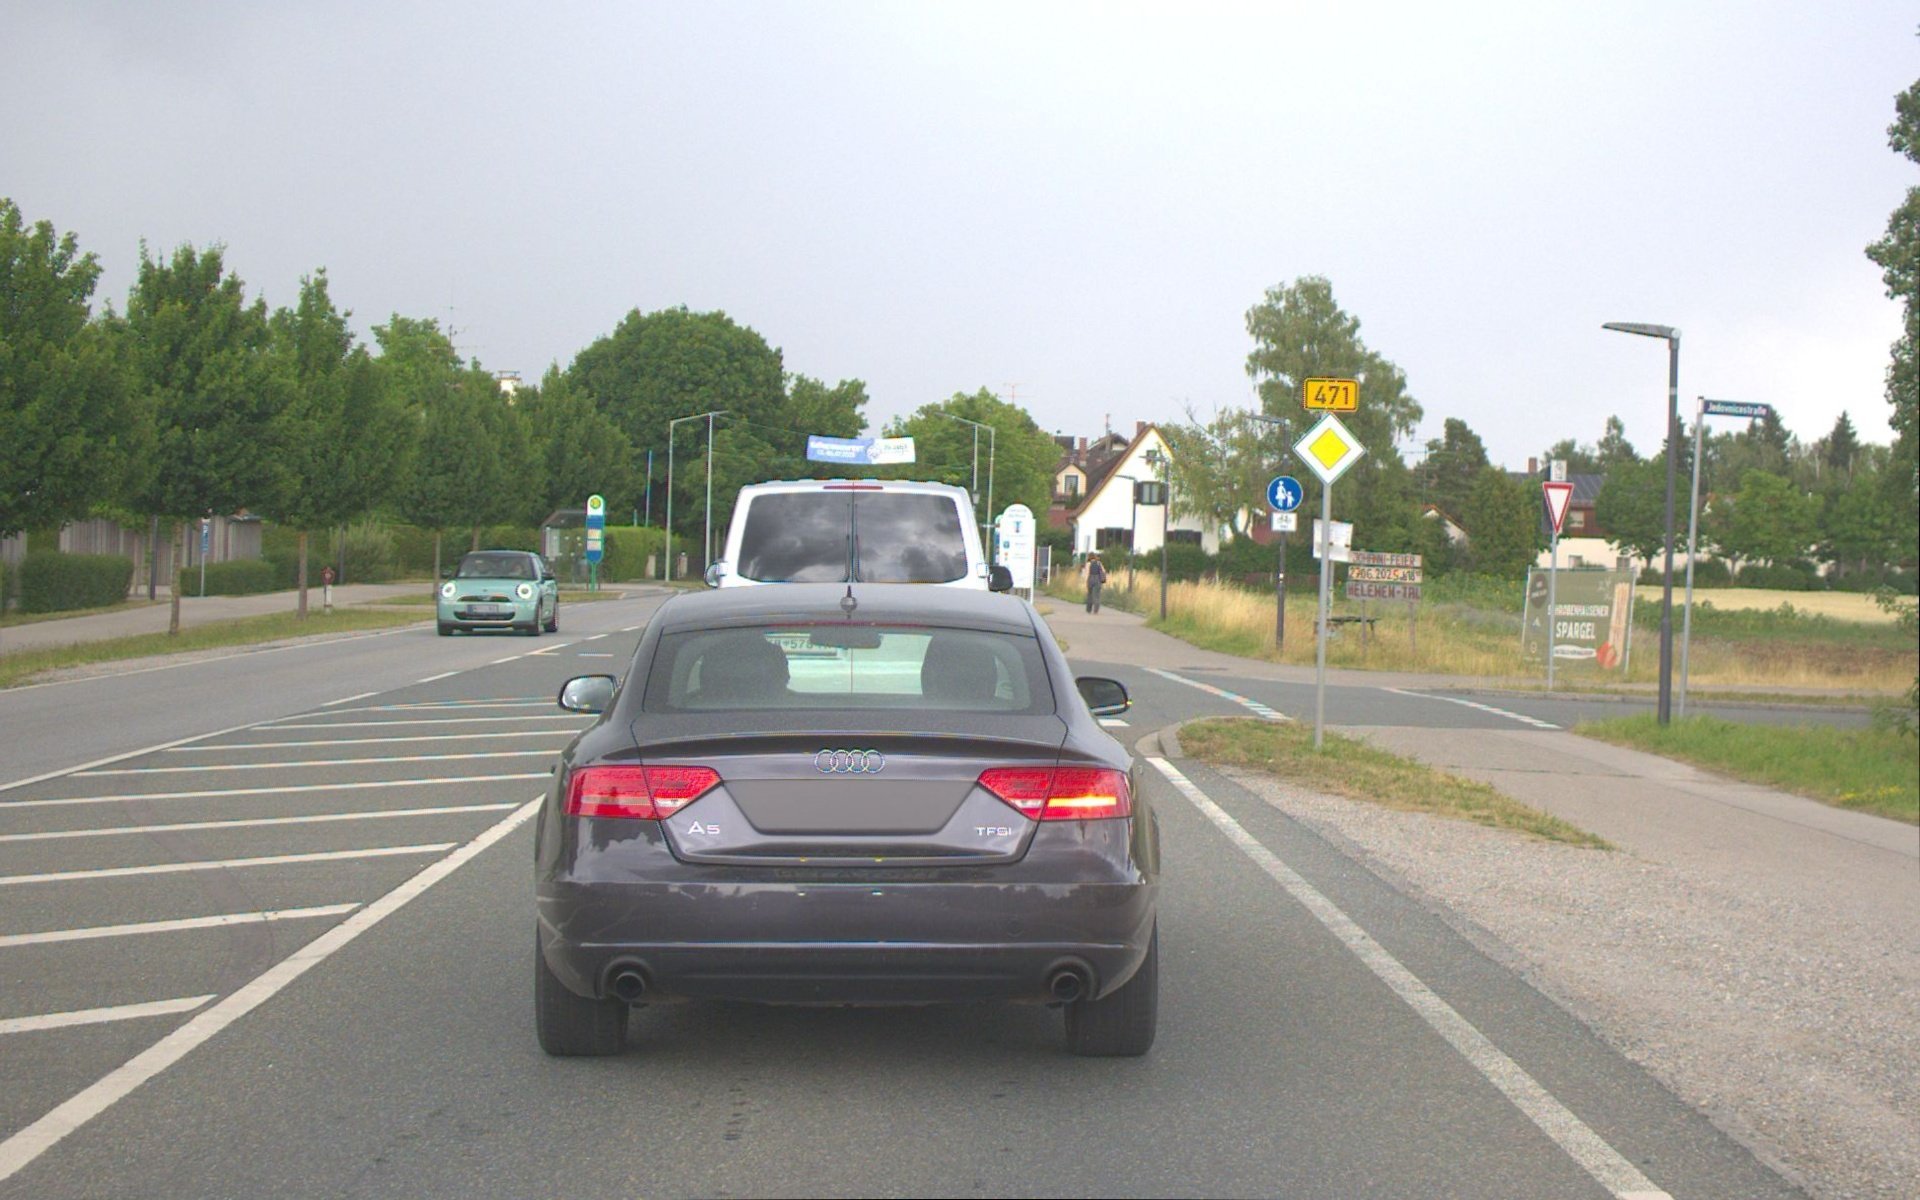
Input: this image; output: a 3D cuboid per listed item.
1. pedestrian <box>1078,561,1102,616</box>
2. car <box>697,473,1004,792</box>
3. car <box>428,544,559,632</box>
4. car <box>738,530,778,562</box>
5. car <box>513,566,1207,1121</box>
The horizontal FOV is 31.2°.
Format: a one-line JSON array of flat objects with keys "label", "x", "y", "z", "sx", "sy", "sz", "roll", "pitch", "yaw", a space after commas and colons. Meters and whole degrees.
[{"label": "pedestrian", "x": 3.620, "y": -0.333, "z": 95.677, "sx": 0.623, "sy": 1.519, "sz": 0.680, "roll": 0, "pitch": 1, "yaw": -1}, {"label": "car", "x": -0.763, "y": 0.161, "z": 23.469, "sx": 1.825, "sy": 1.907, "sz": 4.001, "roll": 3, "pitch": 1, "yaw": -2}, {"label": "car", "x": -8.004, "y": -0.233, "z": 59.281, "sx": 1.770, "sy": 1.438, "sz": 4.000, "roll": 0, "pitch": 1, "yaw": -1}, {"label": "car", "x": -9.161, "y": -2.450, "z": 156.236, "sx": 1.653, "sy": 1.424, "sz": 3.602, "roll": 0, "pitch": 1, "yaw": -1}, {"label": "car", "x": -0.447, "y": 0.613, "z": 11.237, "sx": 1.825, "sy": 1.384, "sz": 4.388, "roll": 0, "pitch": 1, "yaw": -5}]
